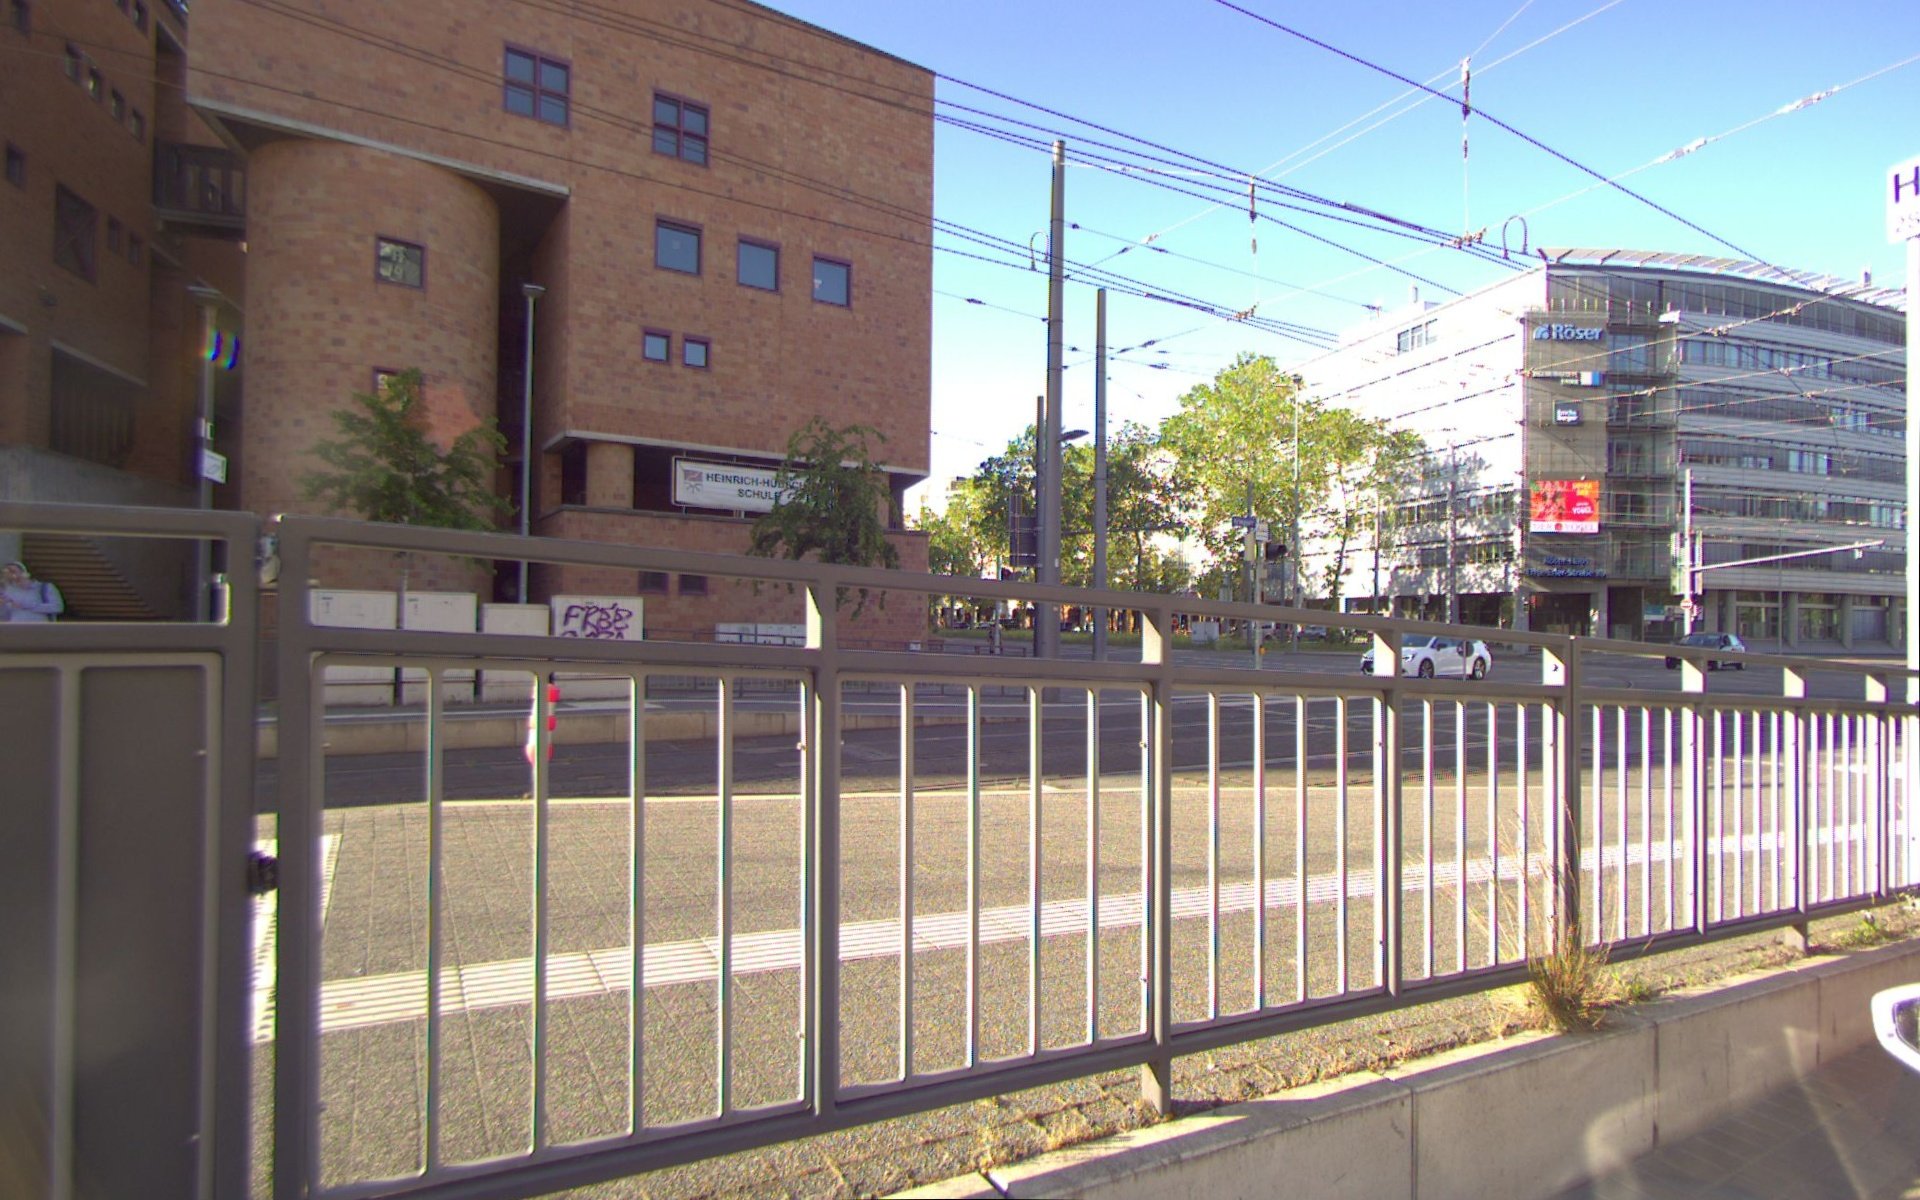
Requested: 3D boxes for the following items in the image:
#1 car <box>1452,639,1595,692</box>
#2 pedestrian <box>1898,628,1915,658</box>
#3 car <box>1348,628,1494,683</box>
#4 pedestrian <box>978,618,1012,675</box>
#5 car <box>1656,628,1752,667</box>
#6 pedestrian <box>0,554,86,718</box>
[{"bbox_3d":[13.665,1.558,24.399,2.841,1.077,1.238,2,0,40],"label":"car"},{"bbox_3d":[66.667,3.032,70.739,0.745,2.040,0.627,2,0,-30],"label":"pedestrian"},{"bbox_3d":[13.316,1.556,28.956,4.484,1.449,1.814,1,-1,-35],"label":"car"},{"bbox_3d":[1.057,1.420,30.605,0.785,1.714,0.587,2,0,-29],"label":"pedestrian"},{"bbox_3d":[29.819,1.901,40.236,4.198,1.449,1.813,2,0,-35],"label":"car"},{"bbox_3d":[-9.724,0.369,10.558,0.679,1.656,0.662,2,0,-34],"label":"pedestrian"}]
